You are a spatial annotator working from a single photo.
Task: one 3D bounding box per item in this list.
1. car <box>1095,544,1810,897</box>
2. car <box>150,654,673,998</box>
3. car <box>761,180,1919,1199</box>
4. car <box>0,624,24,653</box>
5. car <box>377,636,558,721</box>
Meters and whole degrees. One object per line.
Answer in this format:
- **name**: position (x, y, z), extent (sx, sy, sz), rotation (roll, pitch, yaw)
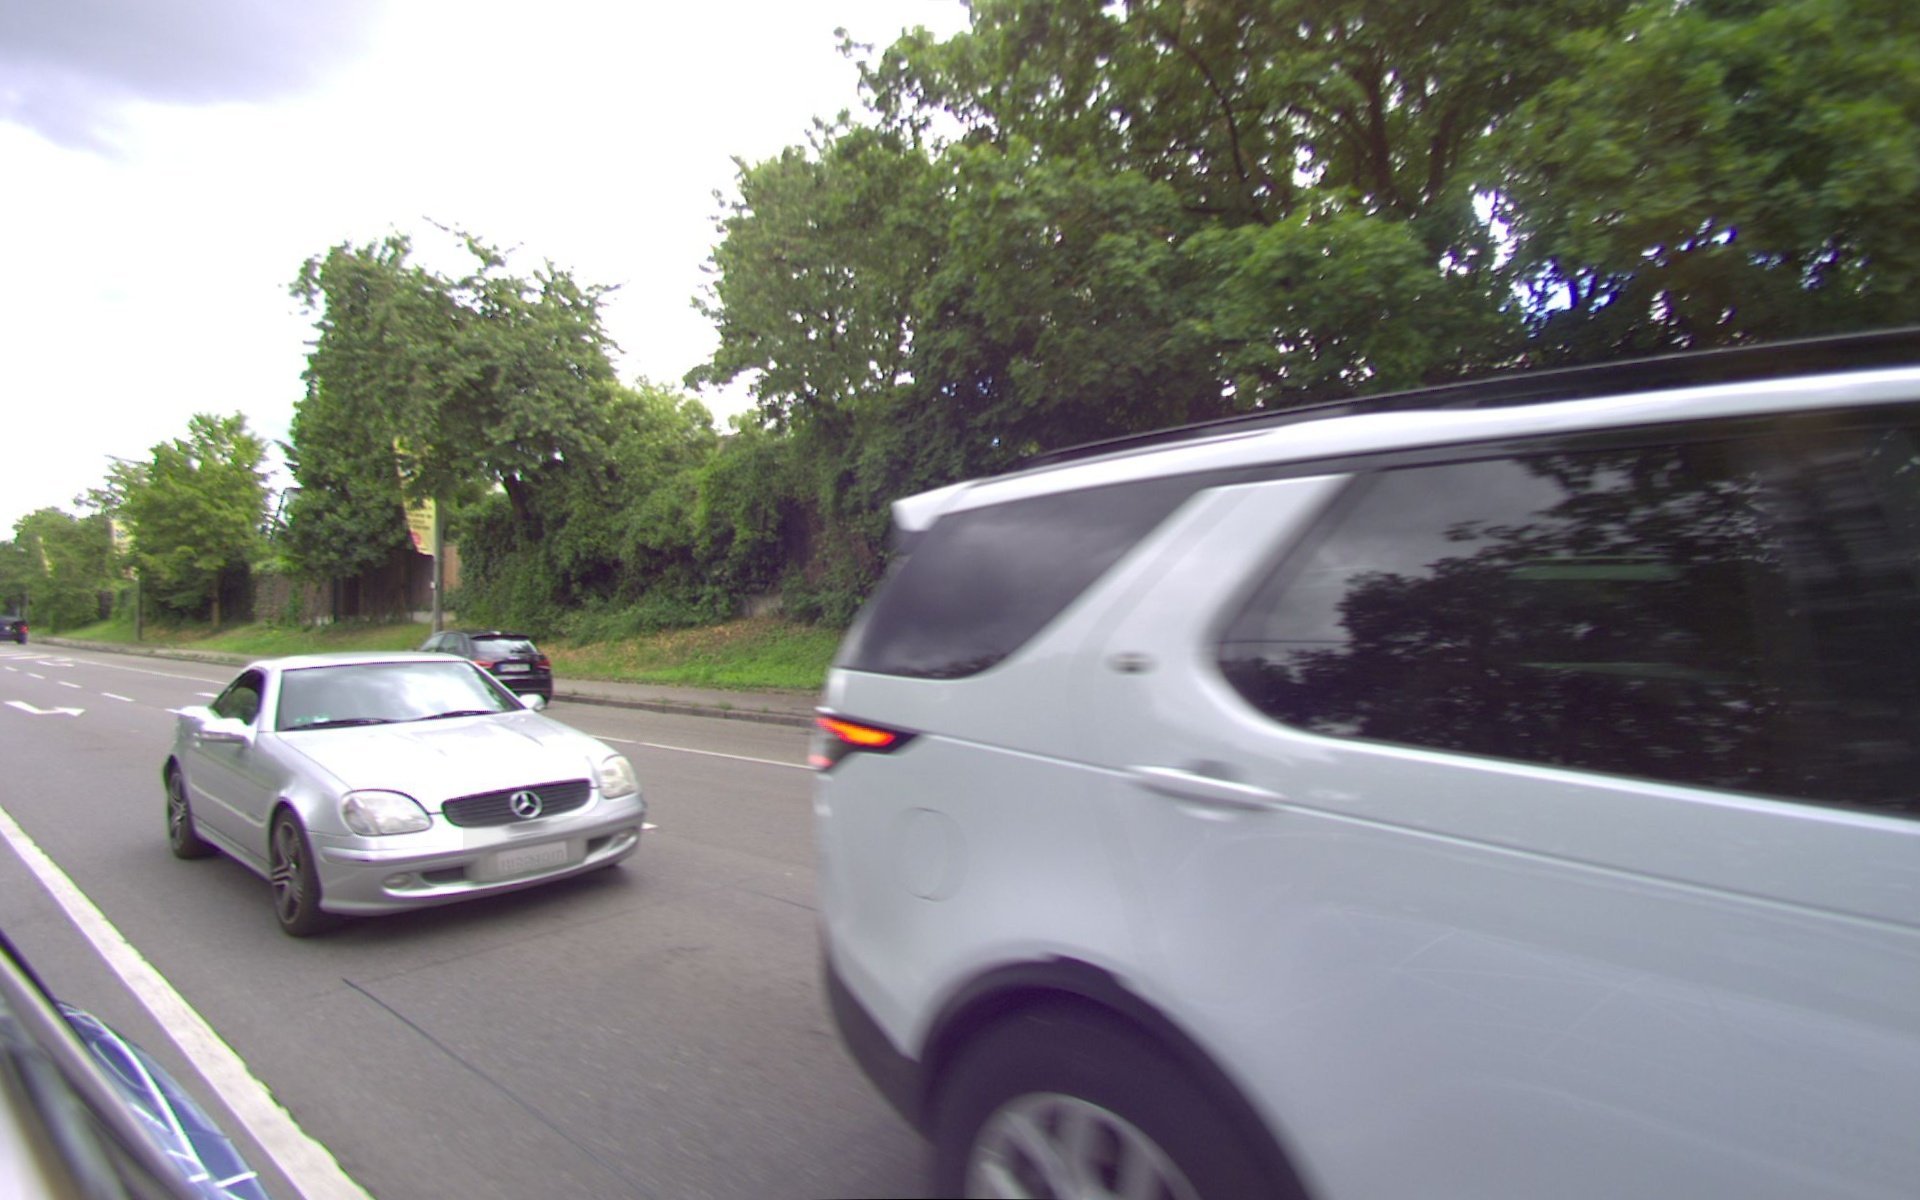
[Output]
- **car**: position (3.332, 0.698, 7.428), extent (4.407, 1.845, 1.773), rotation (-2, -3, 41)
- **car**: position (-3.417, 1.014, 5.961), extent (3.821, 1.276, 1.538), rotation (-2, -1, 42)
- **car**: position (1.835, 0.471, 1.417), extent (4.502, 1.808, 1.784), rotation (-1, 0, 42)
- **car**: position (-65.872, 2.636, 69.487), extent (4.686, 1.919, 1.784), rotation (-1, -3, 41)
- **car**: position (-9.114, 1.368, 18.609), extent (3.831, 1.406, 1.613), rotation (-2, -3, 41)
